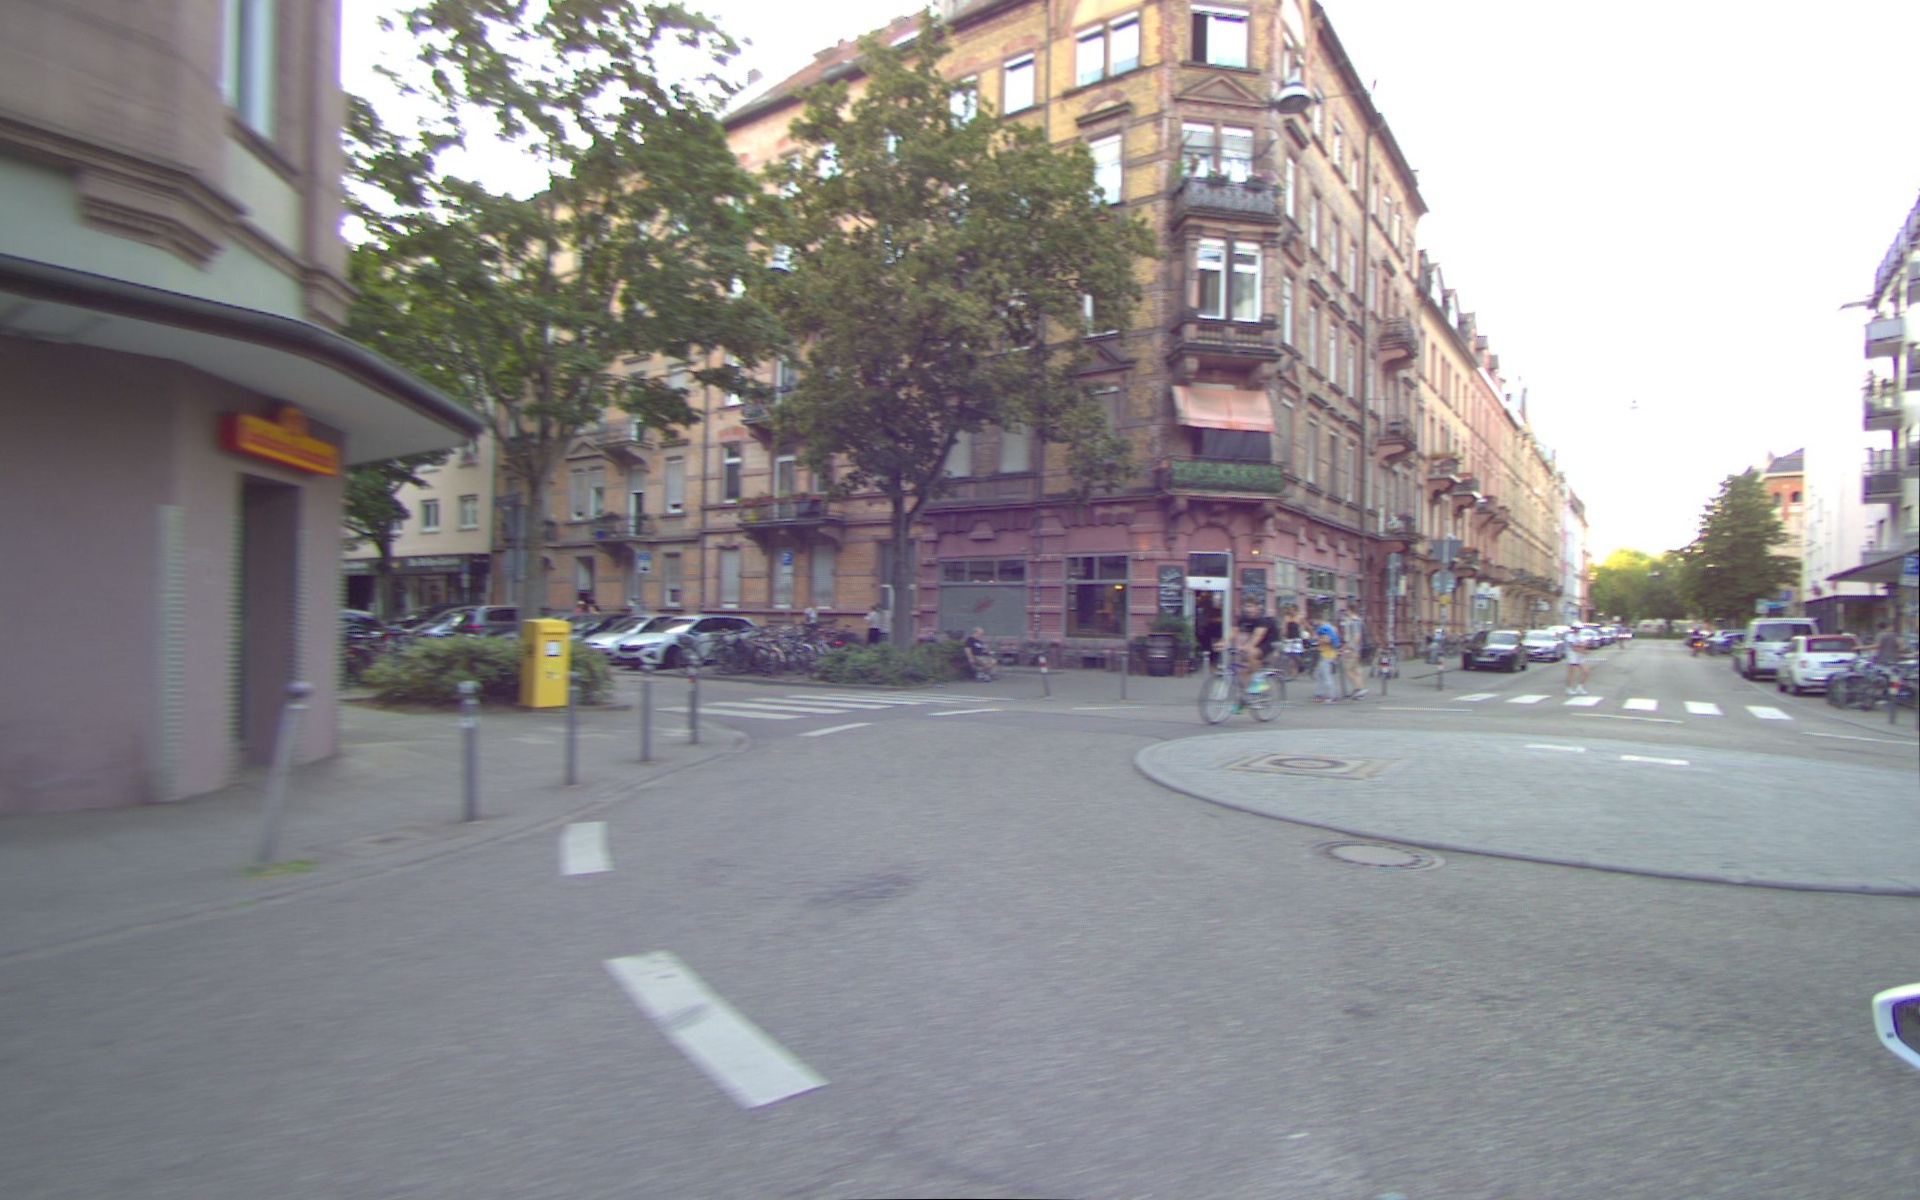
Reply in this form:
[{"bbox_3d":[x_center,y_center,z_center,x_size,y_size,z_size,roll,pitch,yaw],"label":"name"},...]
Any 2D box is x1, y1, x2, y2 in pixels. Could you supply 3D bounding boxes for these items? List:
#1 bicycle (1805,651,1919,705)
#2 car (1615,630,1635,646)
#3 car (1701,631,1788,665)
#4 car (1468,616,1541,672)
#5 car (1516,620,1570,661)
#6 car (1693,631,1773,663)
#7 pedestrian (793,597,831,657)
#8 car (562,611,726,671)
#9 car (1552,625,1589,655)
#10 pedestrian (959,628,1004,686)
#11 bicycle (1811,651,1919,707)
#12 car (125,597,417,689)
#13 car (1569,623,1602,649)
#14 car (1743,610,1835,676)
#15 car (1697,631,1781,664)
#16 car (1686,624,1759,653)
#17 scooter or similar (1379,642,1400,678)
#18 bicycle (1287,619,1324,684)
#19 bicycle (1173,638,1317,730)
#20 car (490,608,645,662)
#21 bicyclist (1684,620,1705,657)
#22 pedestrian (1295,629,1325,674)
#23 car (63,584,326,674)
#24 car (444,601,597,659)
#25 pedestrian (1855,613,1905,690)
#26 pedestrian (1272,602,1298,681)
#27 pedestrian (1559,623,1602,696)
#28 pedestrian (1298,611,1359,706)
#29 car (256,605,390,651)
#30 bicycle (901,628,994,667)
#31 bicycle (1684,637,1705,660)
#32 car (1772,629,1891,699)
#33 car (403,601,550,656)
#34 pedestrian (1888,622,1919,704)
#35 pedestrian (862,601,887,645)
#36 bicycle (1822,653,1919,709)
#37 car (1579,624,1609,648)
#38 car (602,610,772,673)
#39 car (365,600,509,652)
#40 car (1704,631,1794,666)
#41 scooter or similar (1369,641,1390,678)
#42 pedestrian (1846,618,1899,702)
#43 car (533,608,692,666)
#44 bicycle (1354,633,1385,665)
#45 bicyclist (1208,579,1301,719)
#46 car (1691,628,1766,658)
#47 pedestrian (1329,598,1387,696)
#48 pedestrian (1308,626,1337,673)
[{"bbox_3d":[18.794,1.573,20.362,2.426,1.052,0.615,-3,-3,31],"label":"bicycle"},{"bbox_3d":[76.682,4.374,115.878,1.810,1.773,3.988,2,-1,35],"label":"car"},{"bbox_3d":[46.725,2.833,59.911,3.934,1.773,1.835,2,-1,35],"label":"car"},{"bbox_3d":[19.277,1.535,35.501,1.810,1.773,3.988,2,-1,35],"label":"car"},{"bbox_3d":[27.306,1.893,46.978,1.810,1.773,4.150,2,-1,35],"label":"car"},{"bbox_3d":[49.676,3.009,64.630,3.934,1.773,1.835,2,-1,35],"label":"car"},{"bbox_3d":[-4.456,0.801,30.156,0.663,1.748,0.910,3,0,-44],"label":"pedestrian"},{"bbox_3d":[-9.503,1.227,30.522,1.967,1.599,4.483,2,-1,34],"label":"car"},{"bbox_3d":[39.569,2.588,65.087,1.810,1.773,3.988,2,-1,35],"label":"car"},{"bbox_3d":[0.504,1.321,23.431,0.744,1.279,0.666,2,0,35],"label":"pedestrian"},{"bbox_3d":[18.442,1.552,19.793,2.426,1.052,0.615,-3,-3,31],"label":"bicycle"},{"bbox_3d":[-13.842,0.838,20.454,1.967,1.599,4.483,2,-1,34],"label":"car"},{"bbox_3d":[45.163,2.606,72.545,1.810,1.773,3.988,2,-1,35],"label":"car"},{"bbox_3d":[27.042,1.390,32.884,1.916,1.959,3.988,2,-1,35],"label":"car"},{"bbox_3d":[48.144,2.917,62.157,3.934,1.773,1.835,2,-1,35],"label":"car"},{"bbox_3d":[53.757,2.700,70.901,3.934,1.773,1.835,2,-1,35],"label":"car"},{"bbox_3d":[11.806,1.639,27.612,0.229,0.941,1.267,2,-1,11],"label":"scooter or similar"},{"bbox_3d":[8.274,1.213,24.004,0.418,1.461,1.901,2,-1,31],"label":"bicycle"},{"bbox_3d":[4.026,1.168,14.152,1.913,1.187,0.834,3,-1,-30],"label":"bicycle"},{"bbox_3d":[-13.010,1.157,33.554,1.967,1.599,4.483,2,-1,34],"label":"car"},{"bbox_3d":[40.922,2.145,55.981,0.827,1.969,0.782,2,0,34],"label":"bicyclist"},{"bbox_3d":[9.626,1.410,27.610,0.639,1.206,0.538,2,0,32],"label":"pedestrian"},{"bbox_3d":[-17.795,0.672,23.559,1.967,1.855,4.483,2,-1,34],"label":"car"},{"bbox_3d":[-15.209,1.049,34.992,1.967,1.822,4.483,2,-1,34],"label":"car"},{"bbox_3d":[20.846,1.159,22.777,0.690,1.685,0.720,2,0,33],"label":"pedestrian"},{"bbox_3d":[7.901,1.001,24.431,0.495,1.864,0.573,2,0,13],"label":"pedestrian"},{"bbox_3d":[14.498,1.372,23.455,0.787,1.642,0.942,2,0,33],"label":"pedestrian"},{"bbox_3d":[7.126,1.121,19.435,0.893,1.759,0.613,2,0,41],"label":"pedestrian"},{"bbox_3d":[-27.678,1.225,43.756,1.967,1.822,4.483,2,-1,34],"label":"car"},{"bbox_3d":[-0.382,1.362,29.273,2.857,0.971,0.623,2,0,35],"label":"bicycle"},{"bbox_3d":[40.947,2.684,56.026,0.827,1.187,1.930,2,-1,34],"label":"bicycle"},{"bbox_3d":[22.112,1.568,25.642,1.810,1.562,3.988,2,-1,35],"label":"car"},{"bbox_3d":[-17.790,1.058,37.155,1.967,1.822,4.483,2,-1,34],"label":"car"},{"bbox_3d":[20.067,1.314,20.959,0.708,1.685,0.702,2,0,-5],"label":"pedestrian"},{"bbox_3d":[-2.559,0.696,30.143,0.568,1.279,0.453,2,0,-30],"label":"pedestrian"},{"bbox_3d":[18.135,1.541,19.178,2.426,1.052,0.615,-3,-3,32],"label":"bicycle"},{"bbox_3d":[49.759,2.835,78.825,1.810,1.773,3.988,2,-1,35],"label":"car"},{"bbox_3d":[-7.765,1.186,28.939,1.967,1.599,4.483,2,-1,34],"label":"car"},{"bbox_3d":[-20.059,1.027,38.710,1.967,1.822,4.483,2,-1,34],"label":"car"},{"bbox_3d":[45.492,2.761,58.051,3.934,1.773,1.835,2,-1,35],"label":"car"},{"bbox_3d":[11.552,1.628,27.657,0.229,0.941,1.267,2,-1,11],"label":"scooter or similar"},{"bbox_3d":[19.236,1.251,21.187,0.710,1.685,0.700,2,0,36],"label":"pedestrian"},{"bbox_3d":[-10.997,1.160,32.079,1.967,1.641,4.483,2,-1,34],"label":"car"},{"bbox_3d":[14.082,1.665,34.481,0.382,1.050,2.474,2,-1,36],"label":"bicycle"},{"bbox_3d":[4.160,0.675,14.219,0.868,1.901,0.834,2,0,-30],"label":"bicyclist"},{"bbox_3d":[52.154,2.887,68.245,3.934,1.773,1.835,2,-1,35],"label":"car"},{"bbox_3d":[7.997,0.933,20.216,0.888,1.910,0.616,2,0,5],"label":"pedestrian"},{"bbox_3d":[10.321,1.402,28.565,0.639,1.303,0.538,2,0,32],"label":"pedestrian"}]
